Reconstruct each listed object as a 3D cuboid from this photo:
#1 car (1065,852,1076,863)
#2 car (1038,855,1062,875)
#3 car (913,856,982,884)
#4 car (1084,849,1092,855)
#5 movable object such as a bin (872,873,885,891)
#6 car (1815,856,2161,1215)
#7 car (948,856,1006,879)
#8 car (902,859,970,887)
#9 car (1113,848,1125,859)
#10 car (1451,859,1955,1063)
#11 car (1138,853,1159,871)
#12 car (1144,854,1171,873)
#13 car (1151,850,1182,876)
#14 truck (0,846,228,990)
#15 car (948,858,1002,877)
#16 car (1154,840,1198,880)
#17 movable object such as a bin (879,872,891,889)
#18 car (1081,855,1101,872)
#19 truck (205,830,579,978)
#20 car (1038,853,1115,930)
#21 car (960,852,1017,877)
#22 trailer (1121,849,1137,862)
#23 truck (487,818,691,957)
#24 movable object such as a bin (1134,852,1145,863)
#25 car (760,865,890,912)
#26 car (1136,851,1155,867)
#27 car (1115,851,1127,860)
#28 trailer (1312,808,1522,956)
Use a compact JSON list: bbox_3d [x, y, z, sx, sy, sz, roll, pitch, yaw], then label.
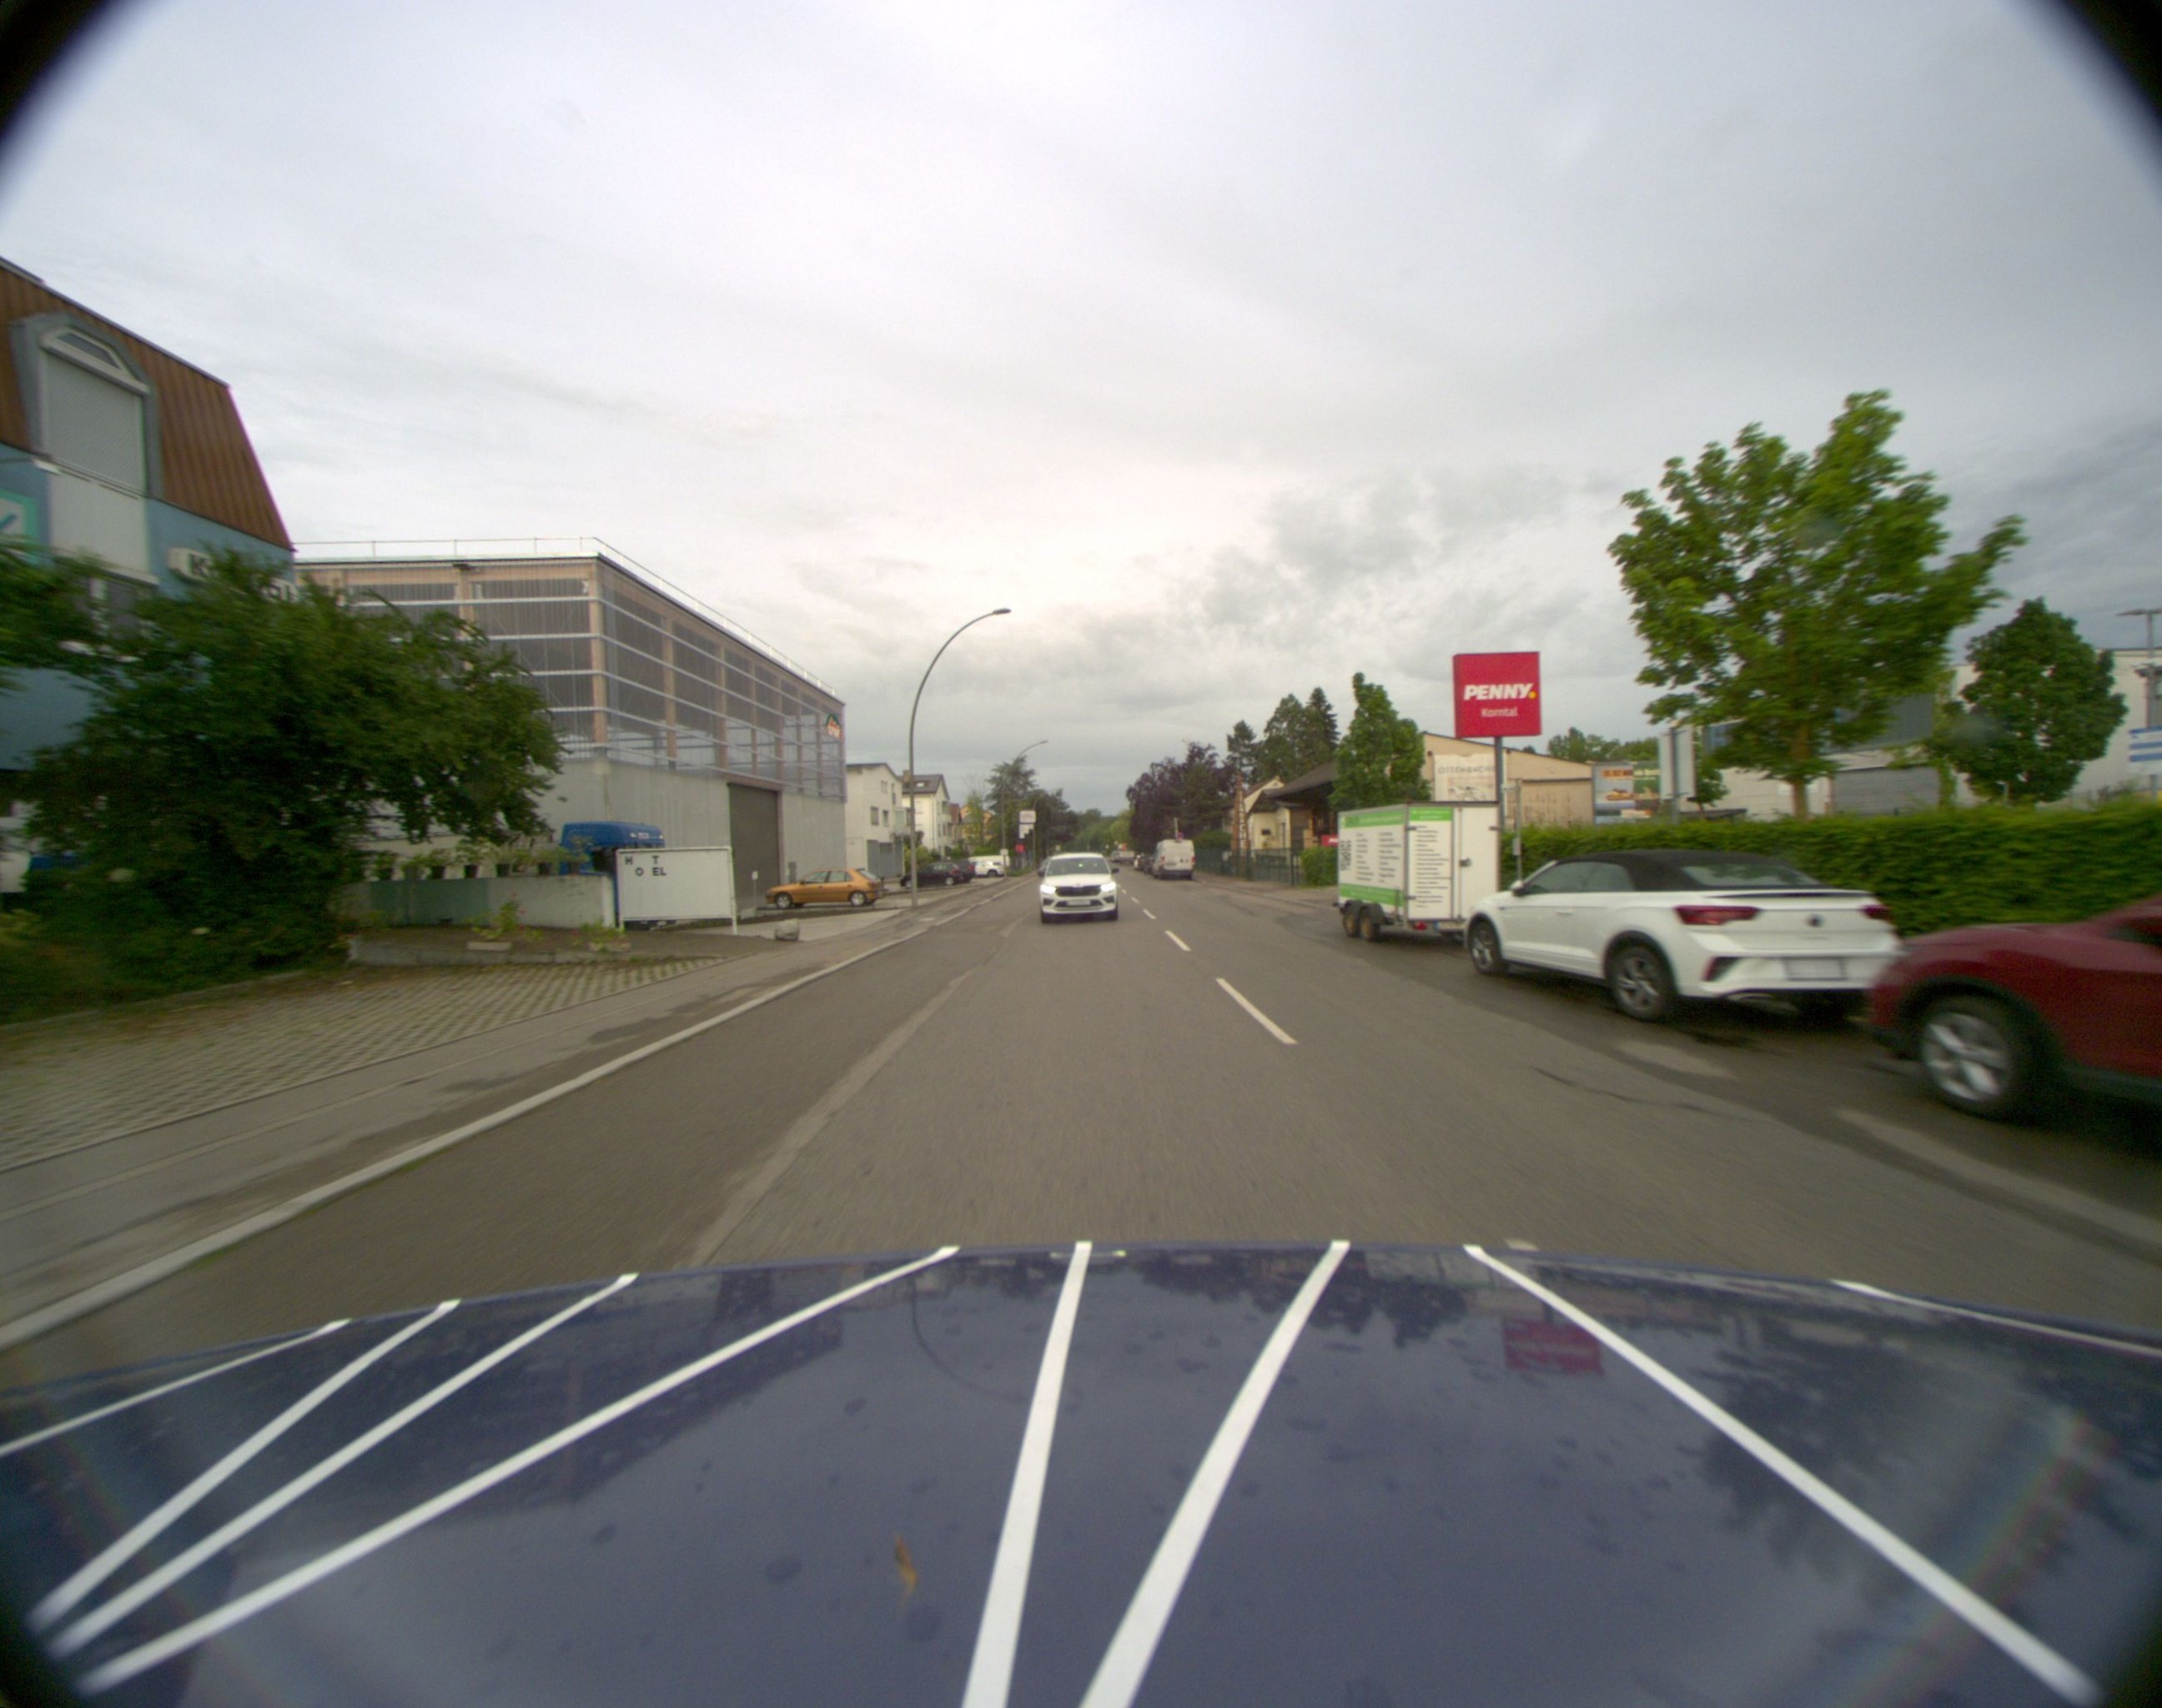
[{"bbox_3d":[-1.850,0.560,136.555,1.736,1.817,5.553,-4,1,2],"label":"car"},{"bbox_3d":[-2.538,0.901,63.319,1.743,1.458,4.545,-3,1,-1],"label":"car"},{"bbox_3d":[-9.111,1.080,52.087,4.237,1.665,1.980,-3,1,0],"label":"car"},{"bbox_3d":[1.866,-0.554,199.341,1.898,1.678,4.230,-1,1,1],"label":"car"},{"bbox_3d":[-12.360,1.703,46.348,0.575,1.049,0.644,-3,1,2],"label":"movable object such as a bin"},{"bbox_3d":[5.752,0.816,2.831,1.810,1.564,4.342,-2,0,0],"label":"car"},{"bbox_3d":[-8.547,1.119,62.926,4.457,1.615,1.893,-3,1,0],"label":"car"},{"bbox_3d":[-9.414,1.214,49.532,3.976,1.481,1.833,-4,0,2],"label":"car"},{"bbox_3d":[6.668,-0.077,134.406,1.898,1.881,5.210,-1,1,1],"label":"car"},{"bbox_3d":[5.747,0.833,7.859,1.777,1.490,4.137,-2,0,0],"label":"car"},{"bbox_3d":[6.329,0.711,71.478,1.665,1.575,3.915,0,1,0],"label":"car"},{"bbox_3d":[6.222,0.763,62.314,1.665,1.440,4.316,-1,1,-1],"label":"car"},{"bbox_3d":[6.262,0.616,55.870,1.774,1.758,4.446,1,1,1],"label":"car"},{"bbox_3d":[-30.702,1.919,23.122,6.093,3.898,2.719,-4,1,0],"label":"truck"},{"bbox_3d":[-9.135,1.176,65.750,4.331,1.371,1.850,-3,1,0],"label":"car"},{"bbox_3d":[6.163,0.363,50.074,2.163,2.413,6.459,1,0,0],"label":"car"},{"bbox_3d":[-12.403,1.693,48.080,0.518,1.049,0.505,-3,1,2],"label":"movable object such as a bin"},{"bbox_3d":[0.934,0.881,74.662,1.743,1.458,3.838,-3,1,-1],"label":"car"},{"bbox_3d":[-20.762,1.418,23.319,8.557,3.686,2.721,-4,1,-2],"label":"truck"},{"bbox_3d":[-0.155,0.857,19.528,1.692,1.651,3.999,-3,1,-2],"label":"car"},{"bbox_3d":[-8.291,0.940,68.198,4.743,1.875,2.000,-3,1,1],"label":"car"},{"bbox_3d":[6.851,0.216,108.361,1.934,1.755,4.548,-3,0,1],"label":"trailer"},{"bbox_3d":[-15.007,0.956,23.472,4.155,3.652,2.719,-5,1,-2],"label":"truck"},{"bbox_3d":[7.159,0.453,93.149,1.103,1.303,1.425,-3,1,0],"label":"movable object such as a bin"},{"bbox_3d":[-9.065,1.201,27.128,3.997,1.422,1.630,-2,1,-1],"label":"car"},{"bbox_3d":[6.512,0.516,76.644,1.620,1.500,3.660,-1,1,1],"label":"car"},{"bbox_3d":[6.844,0.299,129.042,1.821,1.419,4.980,-1,1,1],"label":"car"},{"bbox_3d":[5.958,0.435,14.209,1.817,2.300,4.730,0,0,0],"label":"trailer"}]
